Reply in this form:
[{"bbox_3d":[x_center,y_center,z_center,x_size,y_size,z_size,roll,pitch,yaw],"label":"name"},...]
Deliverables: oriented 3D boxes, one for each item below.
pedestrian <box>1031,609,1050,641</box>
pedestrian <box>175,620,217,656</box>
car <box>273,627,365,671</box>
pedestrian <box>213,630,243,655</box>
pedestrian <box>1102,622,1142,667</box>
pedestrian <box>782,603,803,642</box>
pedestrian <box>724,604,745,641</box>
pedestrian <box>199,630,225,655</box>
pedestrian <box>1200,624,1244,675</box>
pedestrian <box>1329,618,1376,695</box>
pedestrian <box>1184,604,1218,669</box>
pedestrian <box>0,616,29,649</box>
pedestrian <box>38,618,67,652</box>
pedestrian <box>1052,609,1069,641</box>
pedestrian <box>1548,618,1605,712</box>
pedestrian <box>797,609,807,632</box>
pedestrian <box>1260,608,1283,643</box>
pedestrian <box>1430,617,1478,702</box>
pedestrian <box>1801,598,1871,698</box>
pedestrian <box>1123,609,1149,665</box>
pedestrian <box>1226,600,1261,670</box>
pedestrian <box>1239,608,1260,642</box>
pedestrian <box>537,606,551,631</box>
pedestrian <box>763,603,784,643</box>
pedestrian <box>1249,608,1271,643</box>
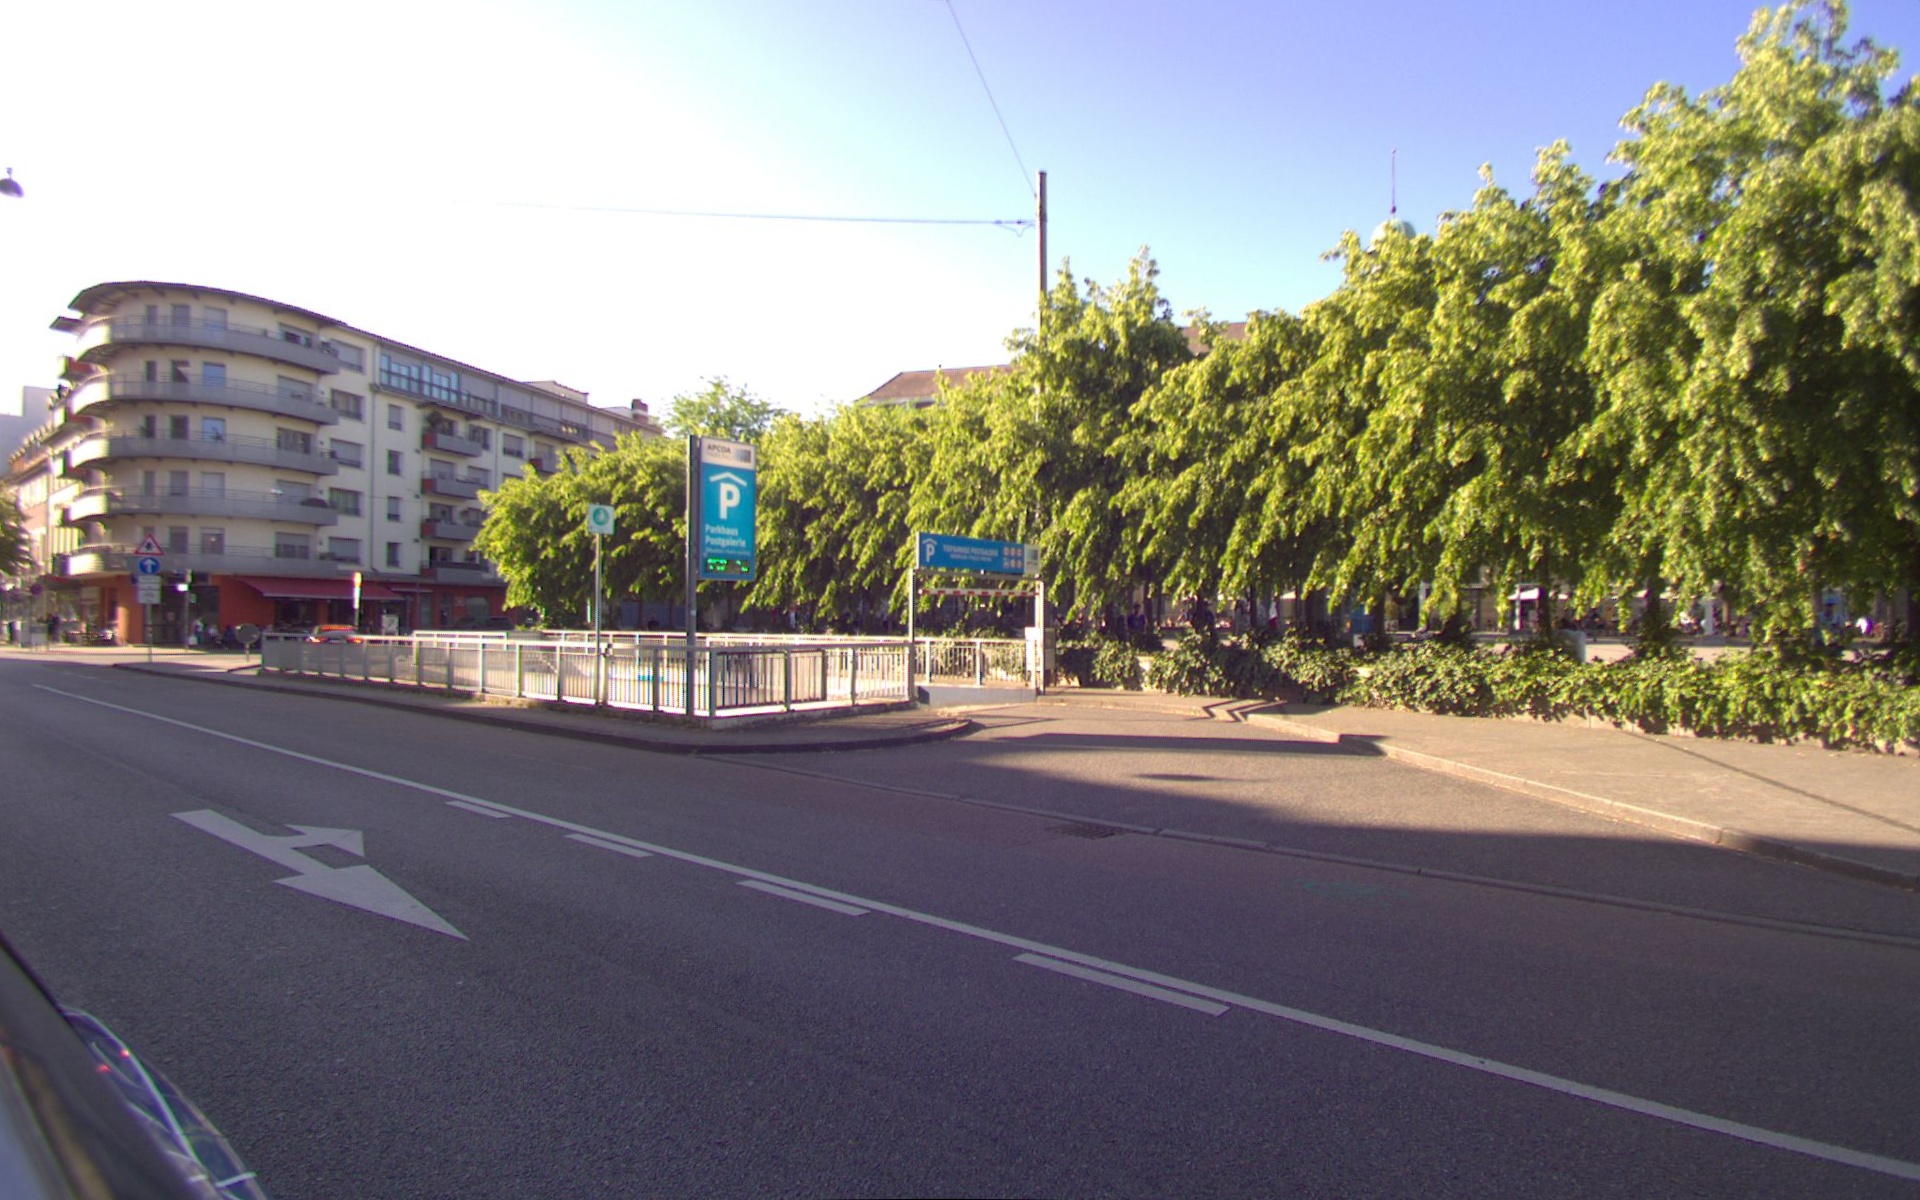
[{"bbox_3d":[3.567,1.121,44.865,0.752,1.385,0.684,-1,0,1],"label":"pedestrian"},{"bbox_3d":[-37.613,1.864,49.832,1.253,1.678,1.141,-1,0,-5],"label":"pedestrian"},{"bbox_3d":[-24.018,1.845,37.862,4.245,1.542,1.655,-3,-3,39],"label":"car"},{"bbox_3d":[-36.829,2.128,50.907,0.827,1.207,0.931,-1,0,16],"label":"pedestrian"},{"bbox_3d":[4.001,1.094,25.063,0.682,1.079,0.686,-1,0,-29],"label":"pedestrian"},{"bbox_3d":[-8.244,1.103,49.818,0.681,1.857,0.741,-1,0,27],"label":"pedestrian"},{"bbox_3d":[-11.257,1.117,50.522,0.679,1.857,0.743,-1,0,19],"label":"pedestrian"},{"bbox_3d":[-37.650,2.139,50.952,0.882,1.207,0.772,-1,0,30],"label":"pedestrian"},{"bbox_3d":[5.777,1.083,22.349,0.682,1.079,0.686,-1,0,-13],"label":"pedestrian"},{"bbox_3d":[7.514,1.063,19.356,0.622,1.409,0.644,-1,0,44],"label":"pedestrian"},{"bbox_3d":[5.686,0.856,23.877,0.688,1.511,0.680,-1,0,19],"label":"pedestrian"},{"bbox_3d":[-51.237,1.759,54.794,1.079,1.732,1.056,-1,0,38],"label":"pedestrian"},{"bbox_3d":[-48.455,1.848,54.036,0.962,1.762,1.047,-1,0,41],"label":"pedestrian"},{"bbox_3d":[4.462,1.109,44.828,0.684,1.385,0.684,-1,0,1],"label":"pedestrian"},{"bbox_3d":[9.797,1.015,16.101,0.611,1.447,0.588,-1,0,14],"label":"pedestrian"},{"bbox_3d":[-10.737,1.388,68.599,0.489,1.591,0.491,-1,0,16],"label":"pedestrian"},{"bbox_3d":[13.869,1.145,45.051,0.672,1.536,0.696,-1,0,-19],"label":"pedestrian"},{"bbox_3d":[8.741,1.028,17.910,0.621,1.447,0.645,-1,0,39],"label":"pedestrian"},{"bbox_3d":[13.837,0.739,16.011,0.691,1.532,0.677,-1,0,30],"label":"pedestrian"},{"bbox_3d":[4.496,0.934,25.876,0.545,1.385,0.680,-1,0,19],"label":"pedestrian"},{"bbox_3d":[6.613,0.802,23.585,0.518,1.594,0.685,-1,0,-10],"label":"pedestrian"},{"bbox_3d":[13.337,1.152,46.573,0.673,1.535,0.695,-1,0,-7],"label":"pedestrian"},{"bbox_3d":[-31.234,1.401,75.987,0.684,1.857,0.737,-1,0,41],"label":"pedestrian"},{"bbox_3d":[-9.036,1.104,48.952,0.681,1.877,0.741,-1,0,27],"label":"pedestrian"},{"bbox_3d":[13.573,1.149,45.762,0.672,1.542,0.696,-1,0,-18],"label":"pedestrian"}]
